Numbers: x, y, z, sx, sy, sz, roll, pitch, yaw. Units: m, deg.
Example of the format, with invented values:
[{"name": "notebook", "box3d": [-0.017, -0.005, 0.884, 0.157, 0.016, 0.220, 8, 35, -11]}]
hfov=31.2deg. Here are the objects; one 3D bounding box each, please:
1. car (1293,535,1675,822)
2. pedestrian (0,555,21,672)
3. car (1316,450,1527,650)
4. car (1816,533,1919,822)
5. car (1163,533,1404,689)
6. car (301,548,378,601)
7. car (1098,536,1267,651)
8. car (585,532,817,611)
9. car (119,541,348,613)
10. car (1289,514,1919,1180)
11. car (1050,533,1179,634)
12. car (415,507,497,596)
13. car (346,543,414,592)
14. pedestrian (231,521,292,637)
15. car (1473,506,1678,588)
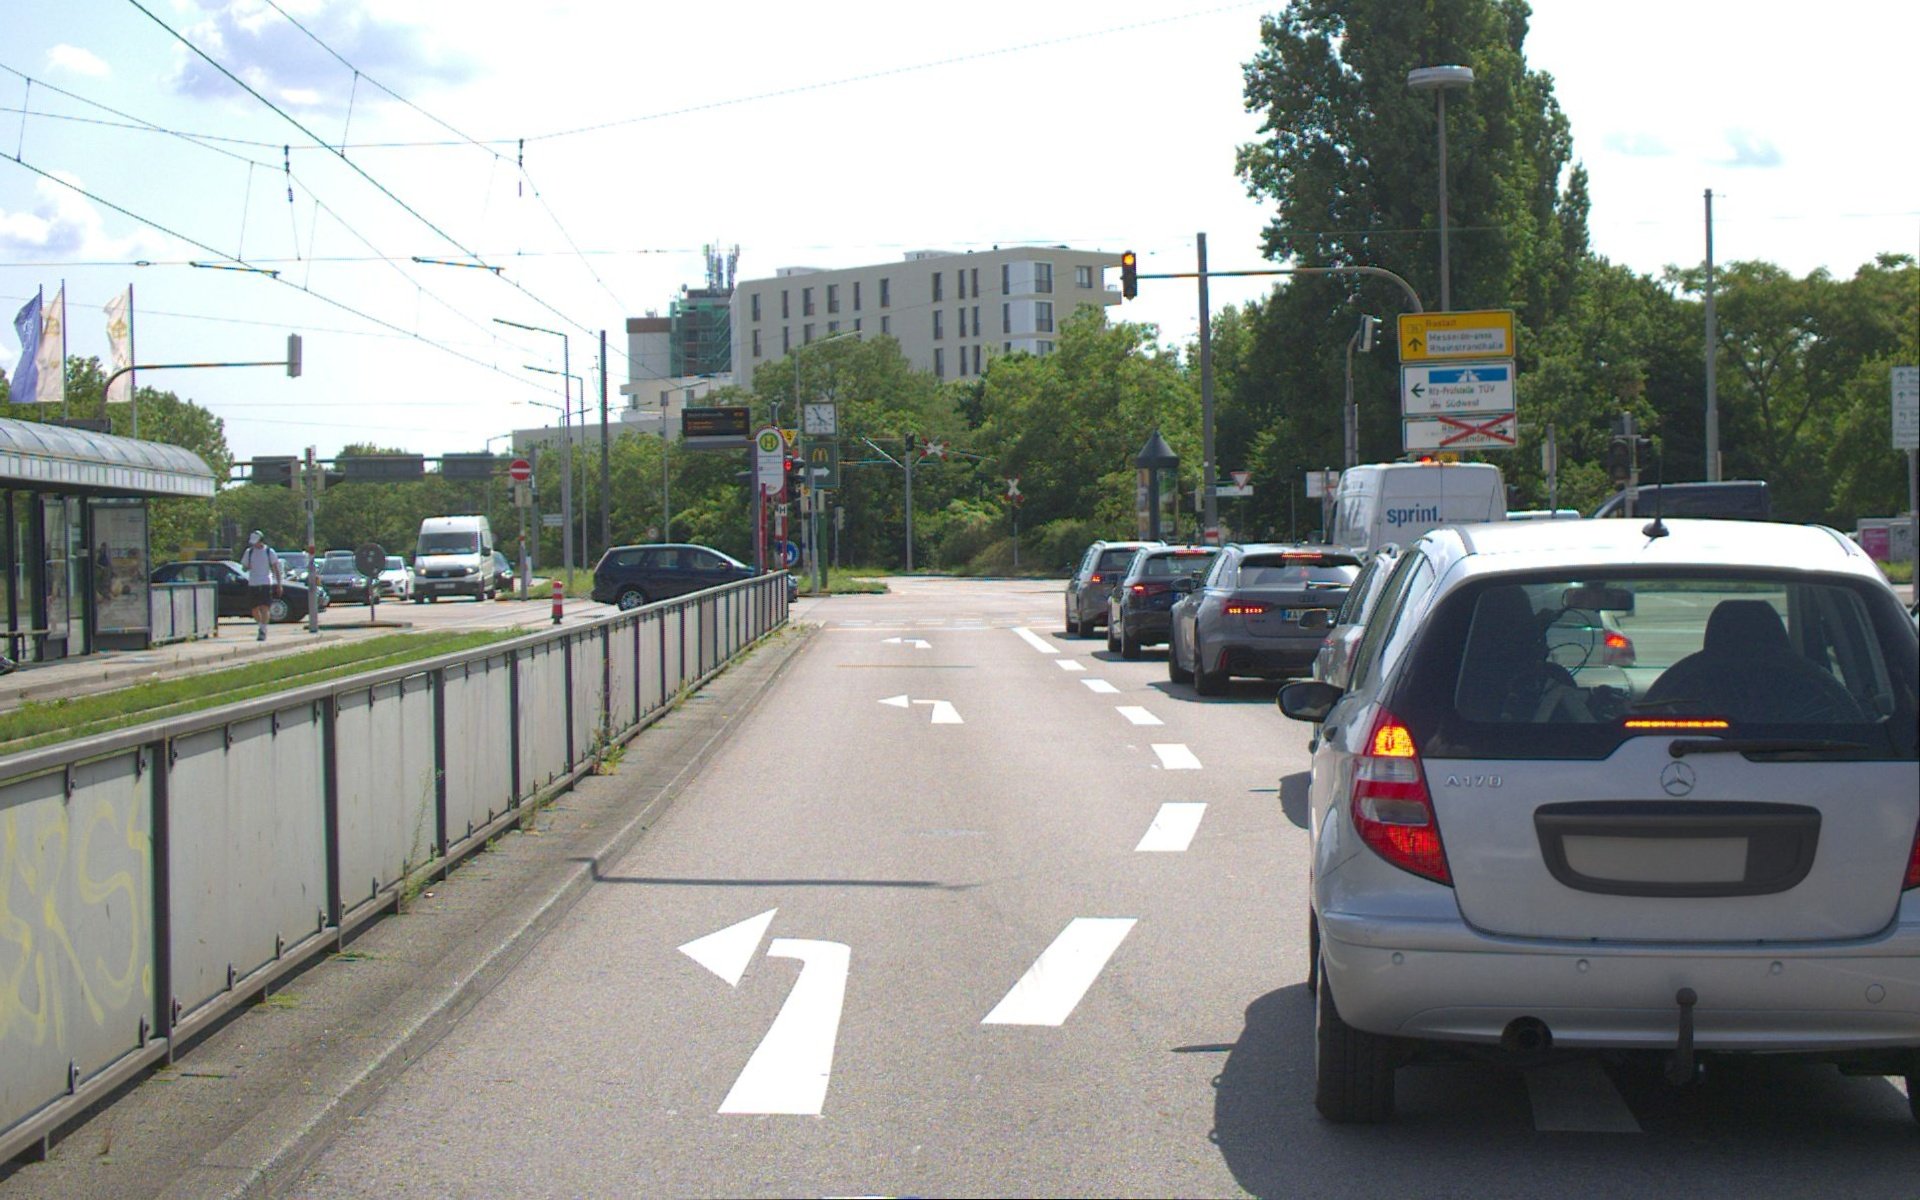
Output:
[{"name": "car", "box3d": [2.972, 0.371, 20.355, 1.739, 1.487, 4.629, 0, 1, 3]}, {"name": "pedestrian", "box3d": [-11.685, 0.151, 40.442, 1.058, 1.371, 0.860, 0, 1, -1]}, {"name": "car", "box3d": [6.249, -0.703, 47.144, 2.041, 2.549, 5.232, -1, 1, -1]}, {"name": "car", "box3d": [5.949, 0.390, 18.418, 1.855, 1.487, 4.535, 0, 1, 4]}, {"name": "car", "box3d": [3.159, 0.055, 34.454, 1.887, 1.443, 4.828, 0, 1, -1]}, {"name": "car", "box3d": [-18.403, -0.767, 102.092, 1.896, 1.536, 3.730, 0, 1, -4]}, {"name": "car", "box3d": [2.844, -0.116, 44.744, 1.869, 1.415, 4.100, 0, 1, -1]}, {"name": "car", "box3d": [-5.544, -0.620, 73.935, 4.675, 1.543, 2.000, -1, 1, 5]}, {"name": "car", "box3d": [-15.493, -0.498, 73.484, 4.459, 1.509, 2.000, 0, 1, 1]}, {"name": "car", "box3d": [1.911, 0.547, 10.216, 1.787, 1.571, 4.093, -1, 1, 6]}, {"name": "car", "box3d": [2.363, -0.284, 53.620, 1.744, 1.494, 4.380, 0, 1, -1]}, {"name": "car", "box3d": [-15.034, -1.461, 102.736, 1.993, 2.597, 4.879, 0, 1, -3]}, {"name": "car", "box3d": [-18.647, -1.057, 110.709, 1.802, 1.536, 4.165, 0, 1, -4]}, {"name": "pedestrian", "box3d": [-11.009, -0.337, 54.230, 0.807, 1.789, 0.709, -1, 1, -3]}, {"name": "car", "box3d": [15.153, -1.314, 84.774, 4.676, 1.929, 2.000, -1, 1, 0]}]
